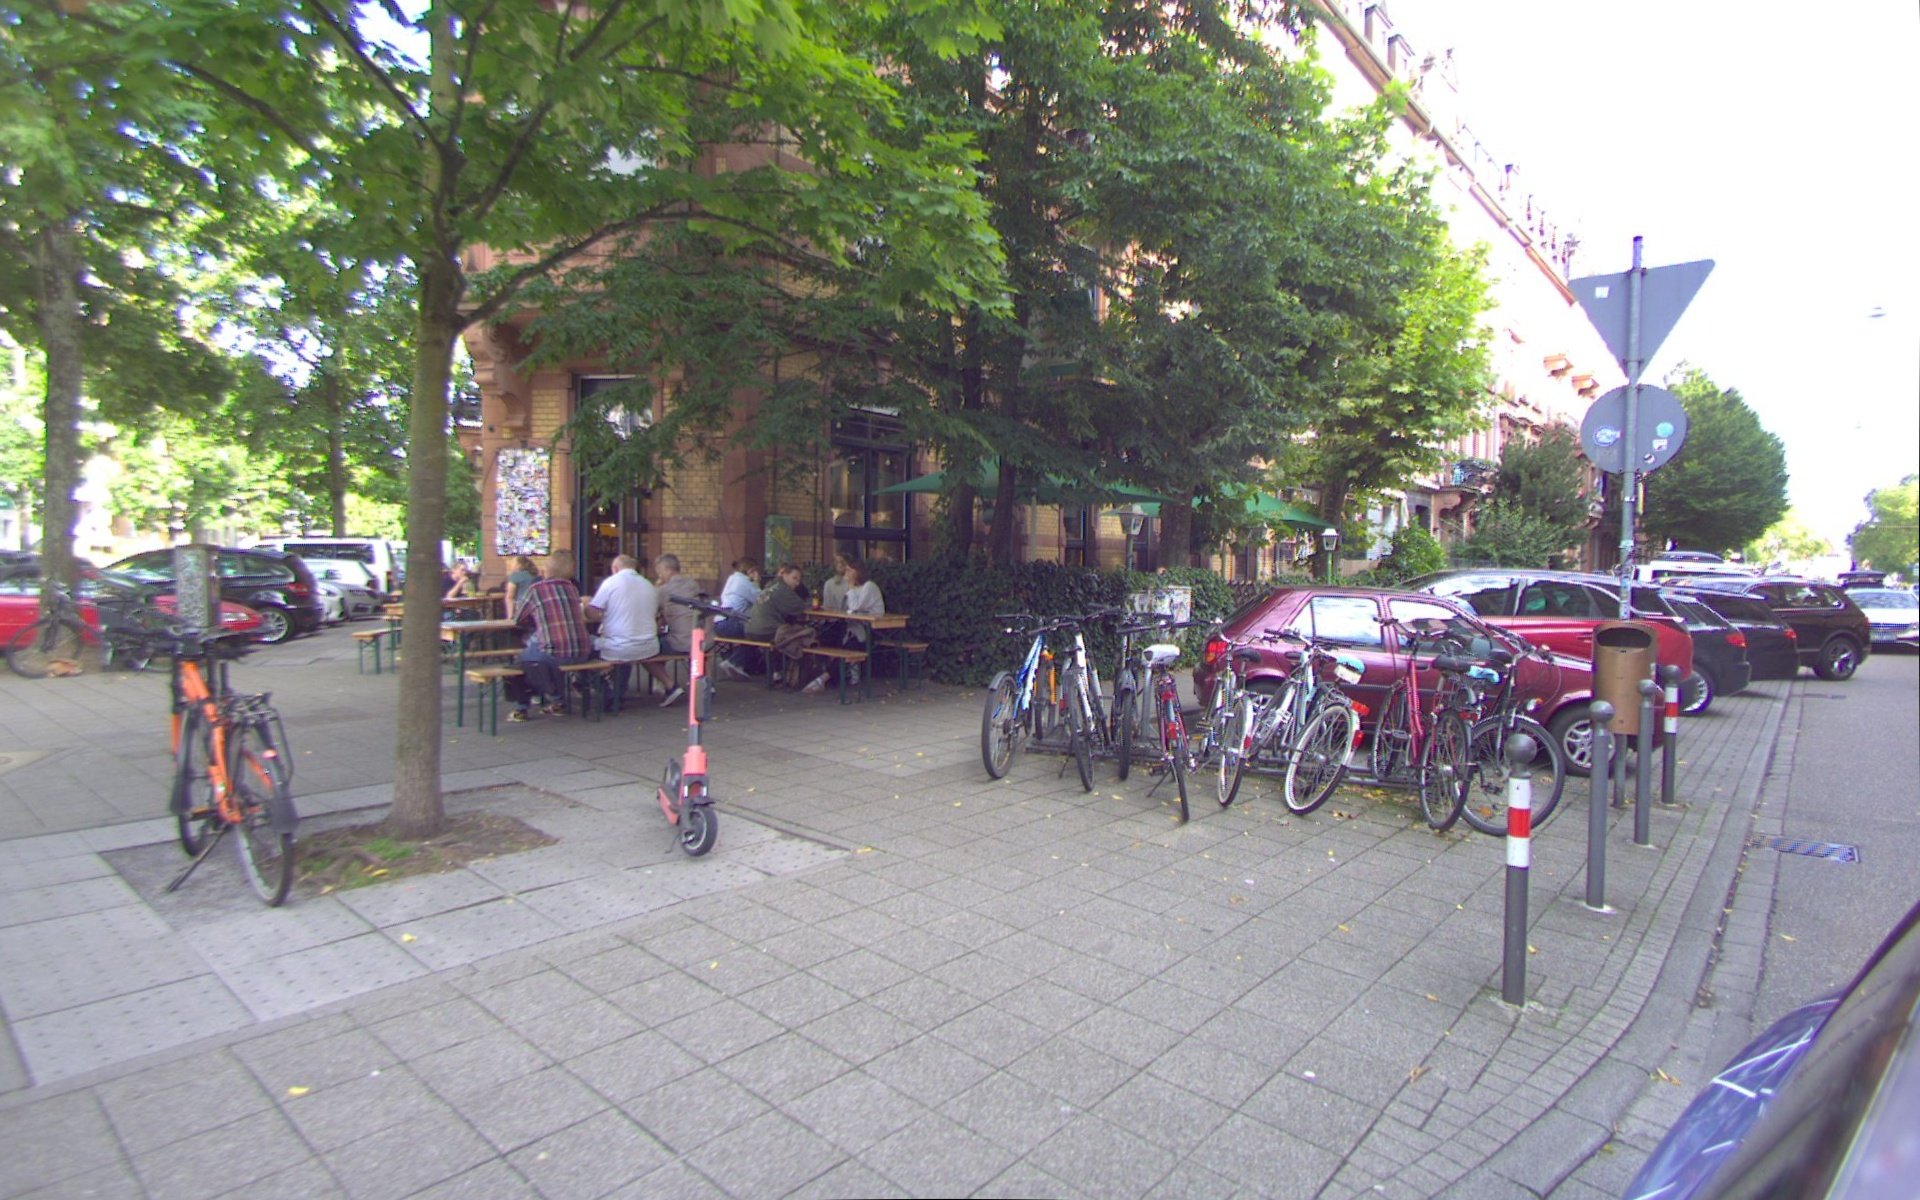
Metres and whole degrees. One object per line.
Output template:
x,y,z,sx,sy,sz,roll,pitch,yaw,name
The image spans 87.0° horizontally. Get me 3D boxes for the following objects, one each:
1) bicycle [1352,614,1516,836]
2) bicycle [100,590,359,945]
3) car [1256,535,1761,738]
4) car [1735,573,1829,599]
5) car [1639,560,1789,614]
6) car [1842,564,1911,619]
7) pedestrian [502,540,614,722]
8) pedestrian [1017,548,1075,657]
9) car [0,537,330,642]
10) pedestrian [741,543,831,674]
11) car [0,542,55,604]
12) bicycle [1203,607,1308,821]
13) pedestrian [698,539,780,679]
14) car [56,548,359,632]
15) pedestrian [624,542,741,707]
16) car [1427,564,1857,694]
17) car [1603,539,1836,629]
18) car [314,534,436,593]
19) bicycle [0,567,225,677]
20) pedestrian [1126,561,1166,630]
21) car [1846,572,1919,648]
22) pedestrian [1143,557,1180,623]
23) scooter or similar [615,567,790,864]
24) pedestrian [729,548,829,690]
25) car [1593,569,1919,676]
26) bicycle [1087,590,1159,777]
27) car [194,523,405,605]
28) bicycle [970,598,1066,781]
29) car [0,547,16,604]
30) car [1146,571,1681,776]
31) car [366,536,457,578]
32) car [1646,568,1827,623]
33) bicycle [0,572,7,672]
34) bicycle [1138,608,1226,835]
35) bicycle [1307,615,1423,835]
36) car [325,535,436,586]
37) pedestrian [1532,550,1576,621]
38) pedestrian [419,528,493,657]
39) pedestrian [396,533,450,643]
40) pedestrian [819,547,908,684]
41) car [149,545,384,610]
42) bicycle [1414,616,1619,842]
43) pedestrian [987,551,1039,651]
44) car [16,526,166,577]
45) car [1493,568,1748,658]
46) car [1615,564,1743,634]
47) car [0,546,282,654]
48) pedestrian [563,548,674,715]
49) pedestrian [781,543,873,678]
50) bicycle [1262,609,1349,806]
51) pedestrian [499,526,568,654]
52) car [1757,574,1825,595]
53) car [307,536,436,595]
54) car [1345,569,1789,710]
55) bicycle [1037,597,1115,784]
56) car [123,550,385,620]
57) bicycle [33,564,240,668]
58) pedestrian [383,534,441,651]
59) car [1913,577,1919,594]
2.923,0.688,6.407,0.454,1.052,1.851,4,4,12,bicycle
-3.124,0.543,4.245,0.642,1.108,1.927,0,2,-43,bicycle
5.435,0.273,10.727,4.295,1.665,1.813,4,2,16,car
58.382,-0.985,71.952,4.730,1.562,1.866,3,3,10,car
30.103,-0.553,40.504,4.634,1.807,1.783,6,2,41,car
33.953,-0.309,37.527,1.805,1.950,3.939,-1,0,42,car
-3.273,0.223,8.239,0.755,1.409,0.541,2,2,38,pedestrian
1.362,0.023,16.021,0.645,1.662,0.556,5,4,38,pedestrian
-13.168,-0.199,16.844,4.334,1.571,2.004,0,2,-25,car
-1.982,0.075,11.525,0.671,1.424,0.748,2,2,38,pedestrian
-31.009,-0.862,31.478,1.988,1.949,3.950,2,2,35,car
1.873,0.641,6.593,0.438,1.052,1.900,4,4,12,bicycle
-2.332,0.076,10.704,0.571,1.424,0.629,2,2,34,pedestrian
-14.131,-0.212,19.372,4.334,1.449,2.004,0,2,-25,car
-2.542,0.192,9.259,0.795,1.424,0.693,2,2,38,pedestrian
9.663,0.340,14.839,4.699,1.475,2.048,3,2,14,car
22.231,-0.512,29.835,5.075,2.434,1.914,2,2,9,car
-22.852,-1.417,39.599,3.926,2.174,1.999,0,2,-37,car
-9.366,0.216,11.255,1.812,1.144,0.569,-1,2,-19,bicycle
3.502,-0.096,19.065,0.485,1.234,0.642,4,3,33,pedestrian
21.975,0.207,23.676,1.805,1.652,3.939,-1,0,42,car
3.895,-0.204,19.530,0.463,1.234,0.557,4,3,32,pedestrian
-1.342,0.485,5.114,0.651,1.290,1.251,0,2,-24,scooter or similar
-1.838,0.169,10.307,0.671,1.375,0.748,2,2,37,pedestrian
13.424,0.341,17.113,4.300,1.674,1.877,0,1,-3,car
1.201,0.519,7.280,0.349,1.086,1.792,4,4,12,bicycle
-16.985,-0.905,26.314,4.334,1.973,2.004,0,2,-25,car
0.420,0.538,6.823,0.444,1.053,1.381,1,2,11,bicycle
-29.961,-0.728,29.007,1.988,1.682,3.950,2,2,35,car
3.650,0.509,8.847,3.886,1.475,1.763,1,2,14,car
-27.993,-2.207,51.761,3.917,2.039,2.003,-1,0,-24,car
25.996,-0.165,34.036,4.381,1.754,1.996,0,1,7,car
-11.337,0.268,10.653,1.814,1.094,0.428,-2,3,-30,bicycle
1.368,0.646,6.272,0.384,1.052,1.915,4,4,12,bicycle
2.547,0.698,6.512,0.343,1.052,2.010,4,4,14,bicycle
-24.026,-1.615,41.971,3.922,2.038,2.002,0,2,-33,car
16.175,-0.414,27.573,0.711,1.901,0.840,0,2,-44,pedestrian
-6.353,-0.104,12.787,0.593,1.583,0.692,1,1,0,pedestrian
-7.966,-0.181,15.029,0.629,1.583,0.702,0,1,-22,pedestrian
-1.007,0.143,10.580,0.668,1.368,0.620,2,2,38,pedestrian
-16.279,-0.527,24.066,4.334,1.433,2.004,0,2,-25,car
3.415,0.710,6.392,0.541,1.052,1.851,4,4,12,bicycle
0.861,0.005,16.446,0.627,1.589,0.562,2,2,38,pedestrian
-33.900,-1.840,39.586,1.984,1.859,4.073,-1,1,32,car
12.615,0.208,19.534,3.653,1.503,1.740,2,2,4,car
19.790,-0.042,27.940,2.434,1.687,1.340,5,2,16,car
-12.155,-0.036,14.357,3.917,1.404,2.004,0,2,-23,car
-2.942,0.240,8.717,0.755,1.359,0.589,2,2,38,pedestrian
-1.459,0.091,11.141,0.671,1.424,0.748,2,2,38,pedestrian
2.338,0.650,6.975,0.343,1.052,1.850,4,4,14,bicycle
-5.417,-0.136,12.878,0.611,1.583,0.671,1,1,-2,pedestrian
69.031,-1.268,84.105,3.935,1.694,1.922,0,1,10,car
-21.637,-1.249,37.241,3.926,2.038,1.999,0,2,-37,car
7.232,0.388,12.643,4.356,1.475,1.932,1,2,18,car
0.816,0.548,6.897,0.331,1.052,1.452,4,4,12,bicycle
-14.963,-0.329,21.785,4.334,1.388,2.004,0,2,-25,car
-9.506,0.180,11.744,1.811,1.148,0.428,0,3,-19,bicycle
-7.648,-0.110,14.138,0.623,1.583,0.702,0,1,-21,pedestrian
84.372,-1.305,88.063,1.905,1.438,3.941,0,1,41,car
